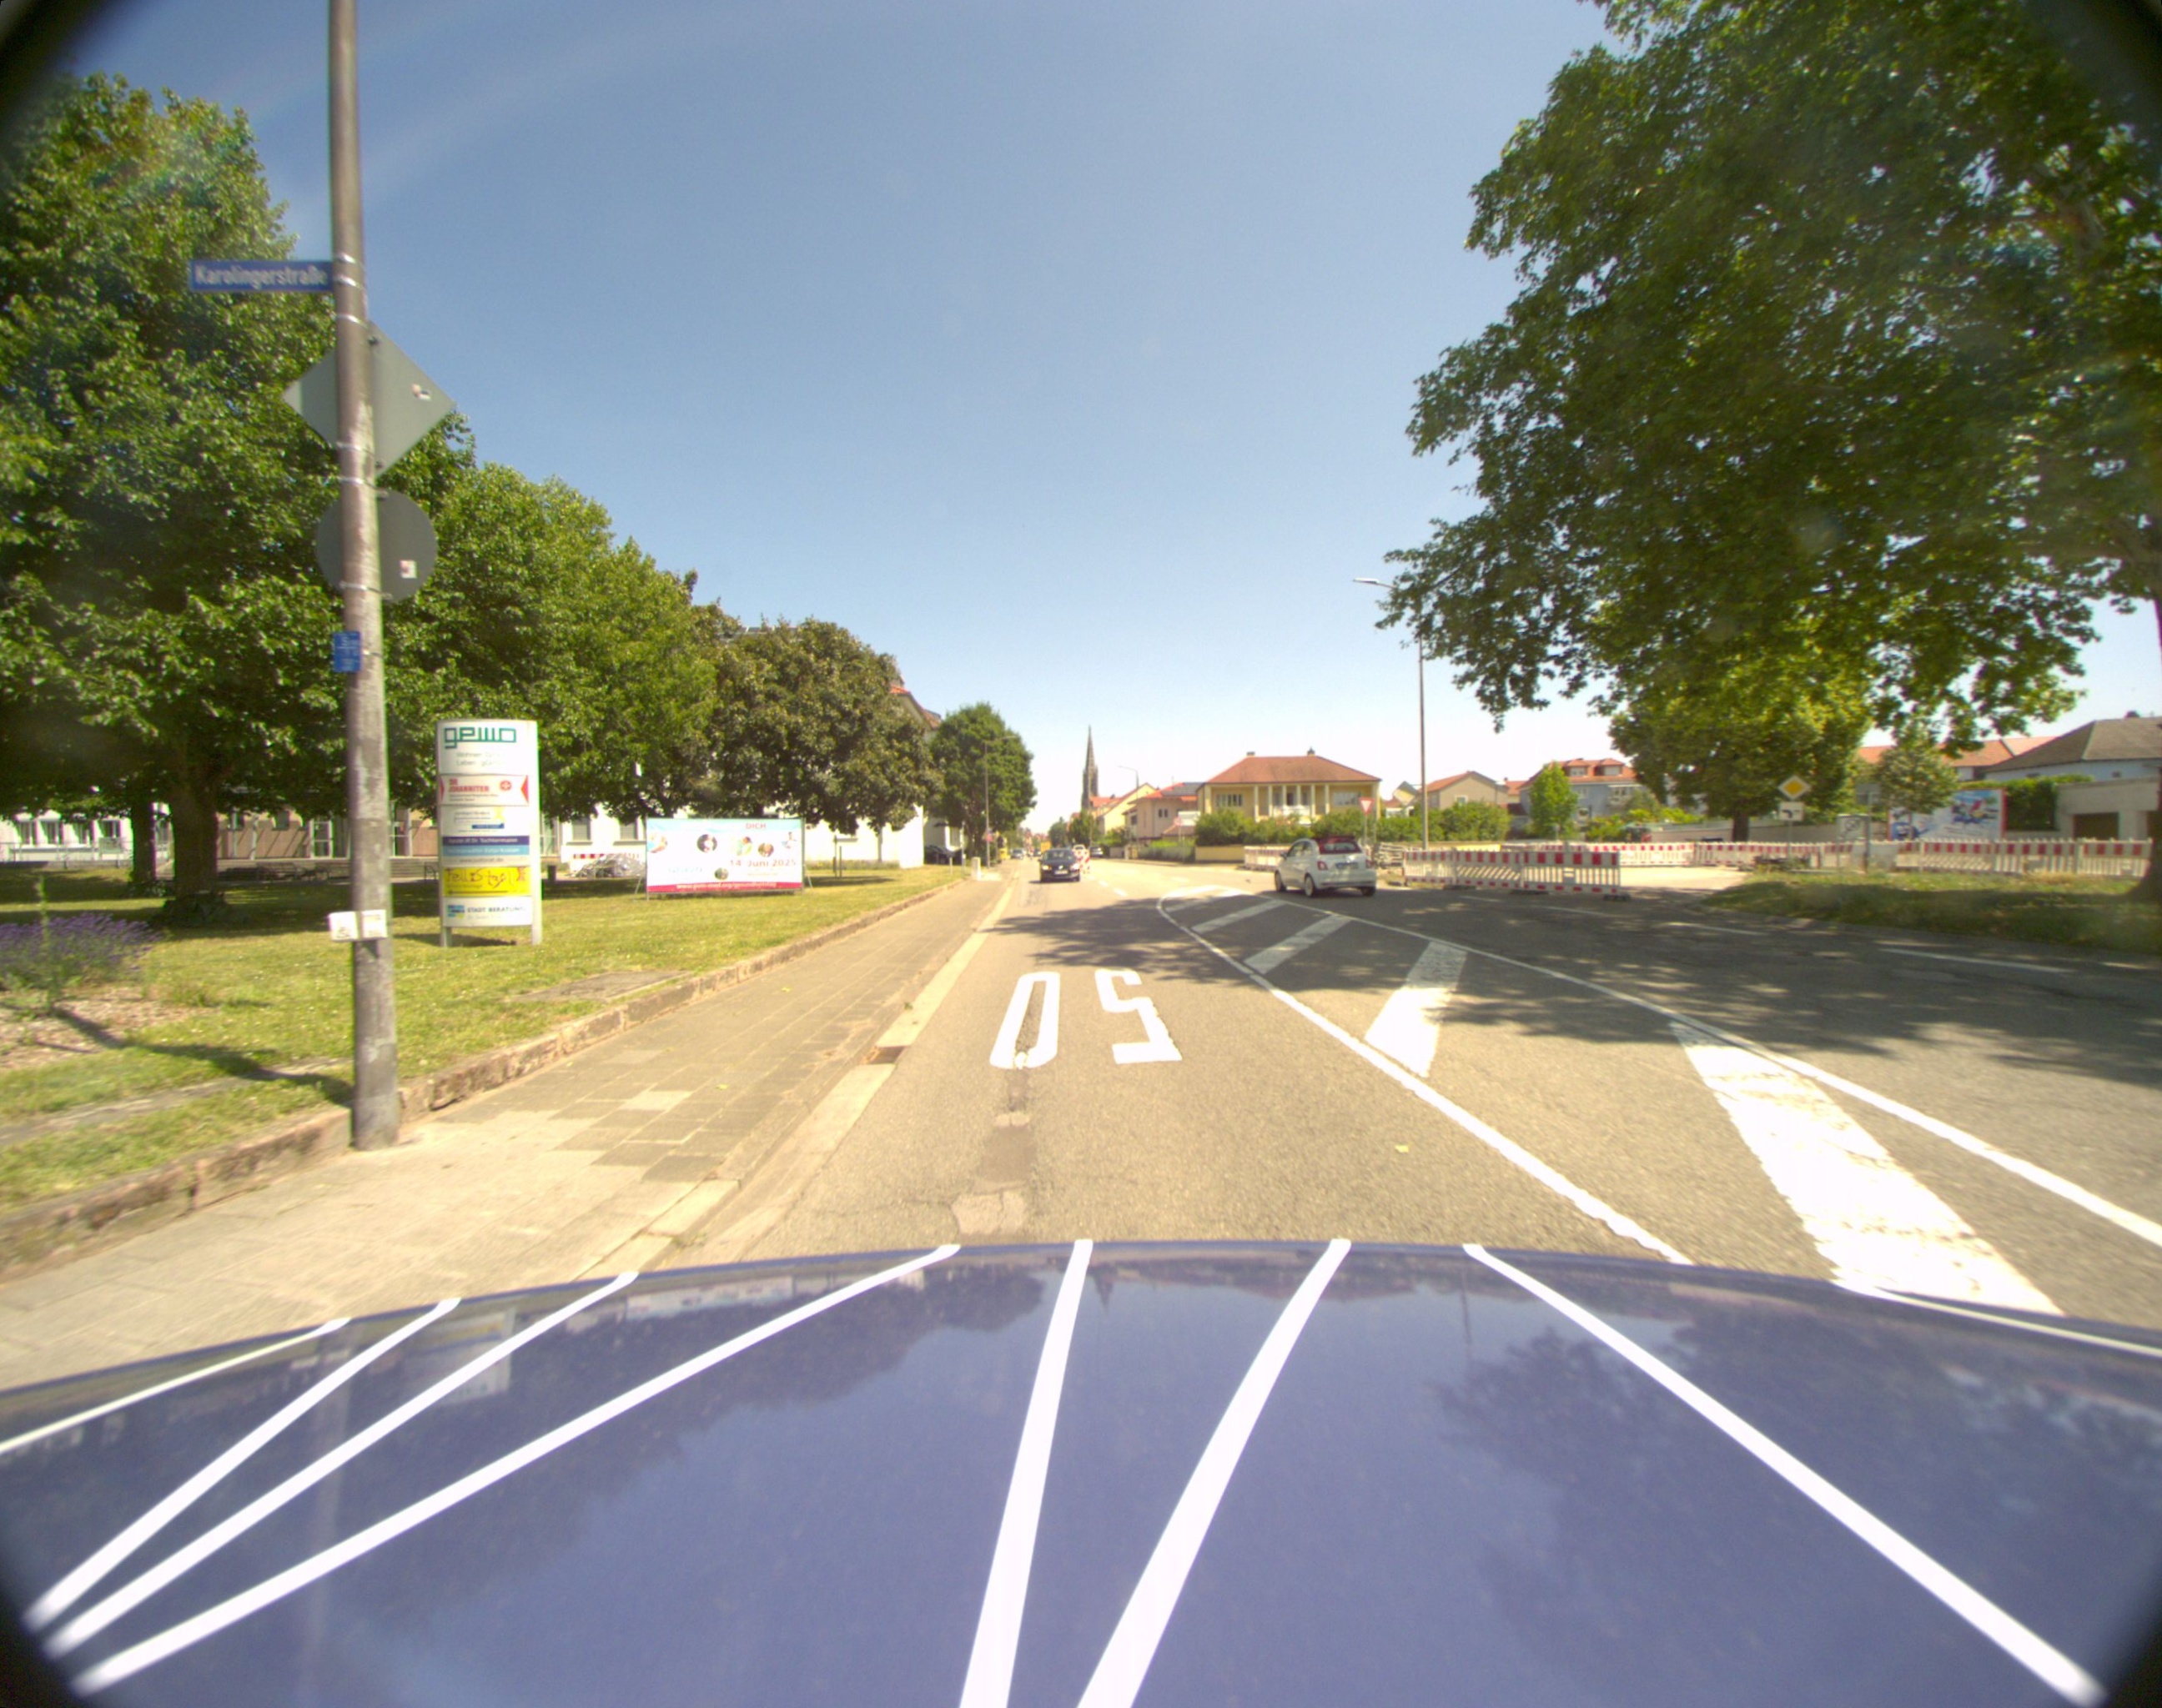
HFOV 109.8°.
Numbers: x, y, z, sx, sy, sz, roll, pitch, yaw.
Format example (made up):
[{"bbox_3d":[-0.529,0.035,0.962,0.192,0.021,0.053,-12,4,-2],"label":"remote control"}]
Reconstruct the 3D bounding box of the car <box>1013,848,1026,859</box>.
[{"bbox_3d":[-8.619,-0.101,106.663,1.608,1.403,3.907,-2,1,-4],"label":"car"}]

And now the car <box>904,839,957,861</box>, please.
[{"bbox_3d":[-12.970,-0.329,65.655,4.369,1.776,1.998,1,1,-7],"label":"car"}]

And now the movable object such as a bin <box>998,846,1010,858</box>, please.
[{"bbox_3d":[-9.963,-0.235,97.963,1.500,1.472,1.422,0,1,-5],"label":"movable object such as a bin"}]

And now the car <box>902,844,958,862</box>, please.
[{"bbox_3d":[-12.479,-0.087,62.876,4.369,1.427,1.998,1,1,-7],"label":"car"}]

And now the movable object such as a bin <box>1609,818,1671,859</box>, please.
[{"bbox_3d":[39.386,-1.079,53.639,2.273,2.720,3.935,0,1,16],"label":"movable object such as a bin"}]

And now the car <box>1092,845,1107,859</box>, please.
[{"bbox_3d":[2.183,-0.252,91.316,1.390,1.568,3.319,0,1,-5],"label":"car"}]

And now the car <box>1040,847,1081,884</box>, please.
[{"bbox_3d":[-0.920,0.446,32.978,1.607,1.436,3.908,-2,1,-2],"label":"car"}]

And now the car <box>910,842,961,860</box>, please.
[{"bbox_3d":[-13.168,-0.249,68.825,4.369,1.517,1.998,1,1,-7],"label":"car"}]

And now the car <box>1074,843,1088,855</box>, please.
[{"bbox_3d":[-0.075,-0.738,111.378,1.719,1.776,3.887,0,1,-5],"label":"car"}]

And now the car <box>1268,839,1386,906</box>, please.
[{"bbox_3d":[6.221,0.420,19.597,1.704,1.501,3.457,-3,1,-4],"label":"car"}]

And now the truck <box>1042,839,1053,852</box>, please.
[{"bbox_3d":[-8.004,-2.065,180.075,2.223,2.921,5.347,0,1,-5],"label":"truck"}]
